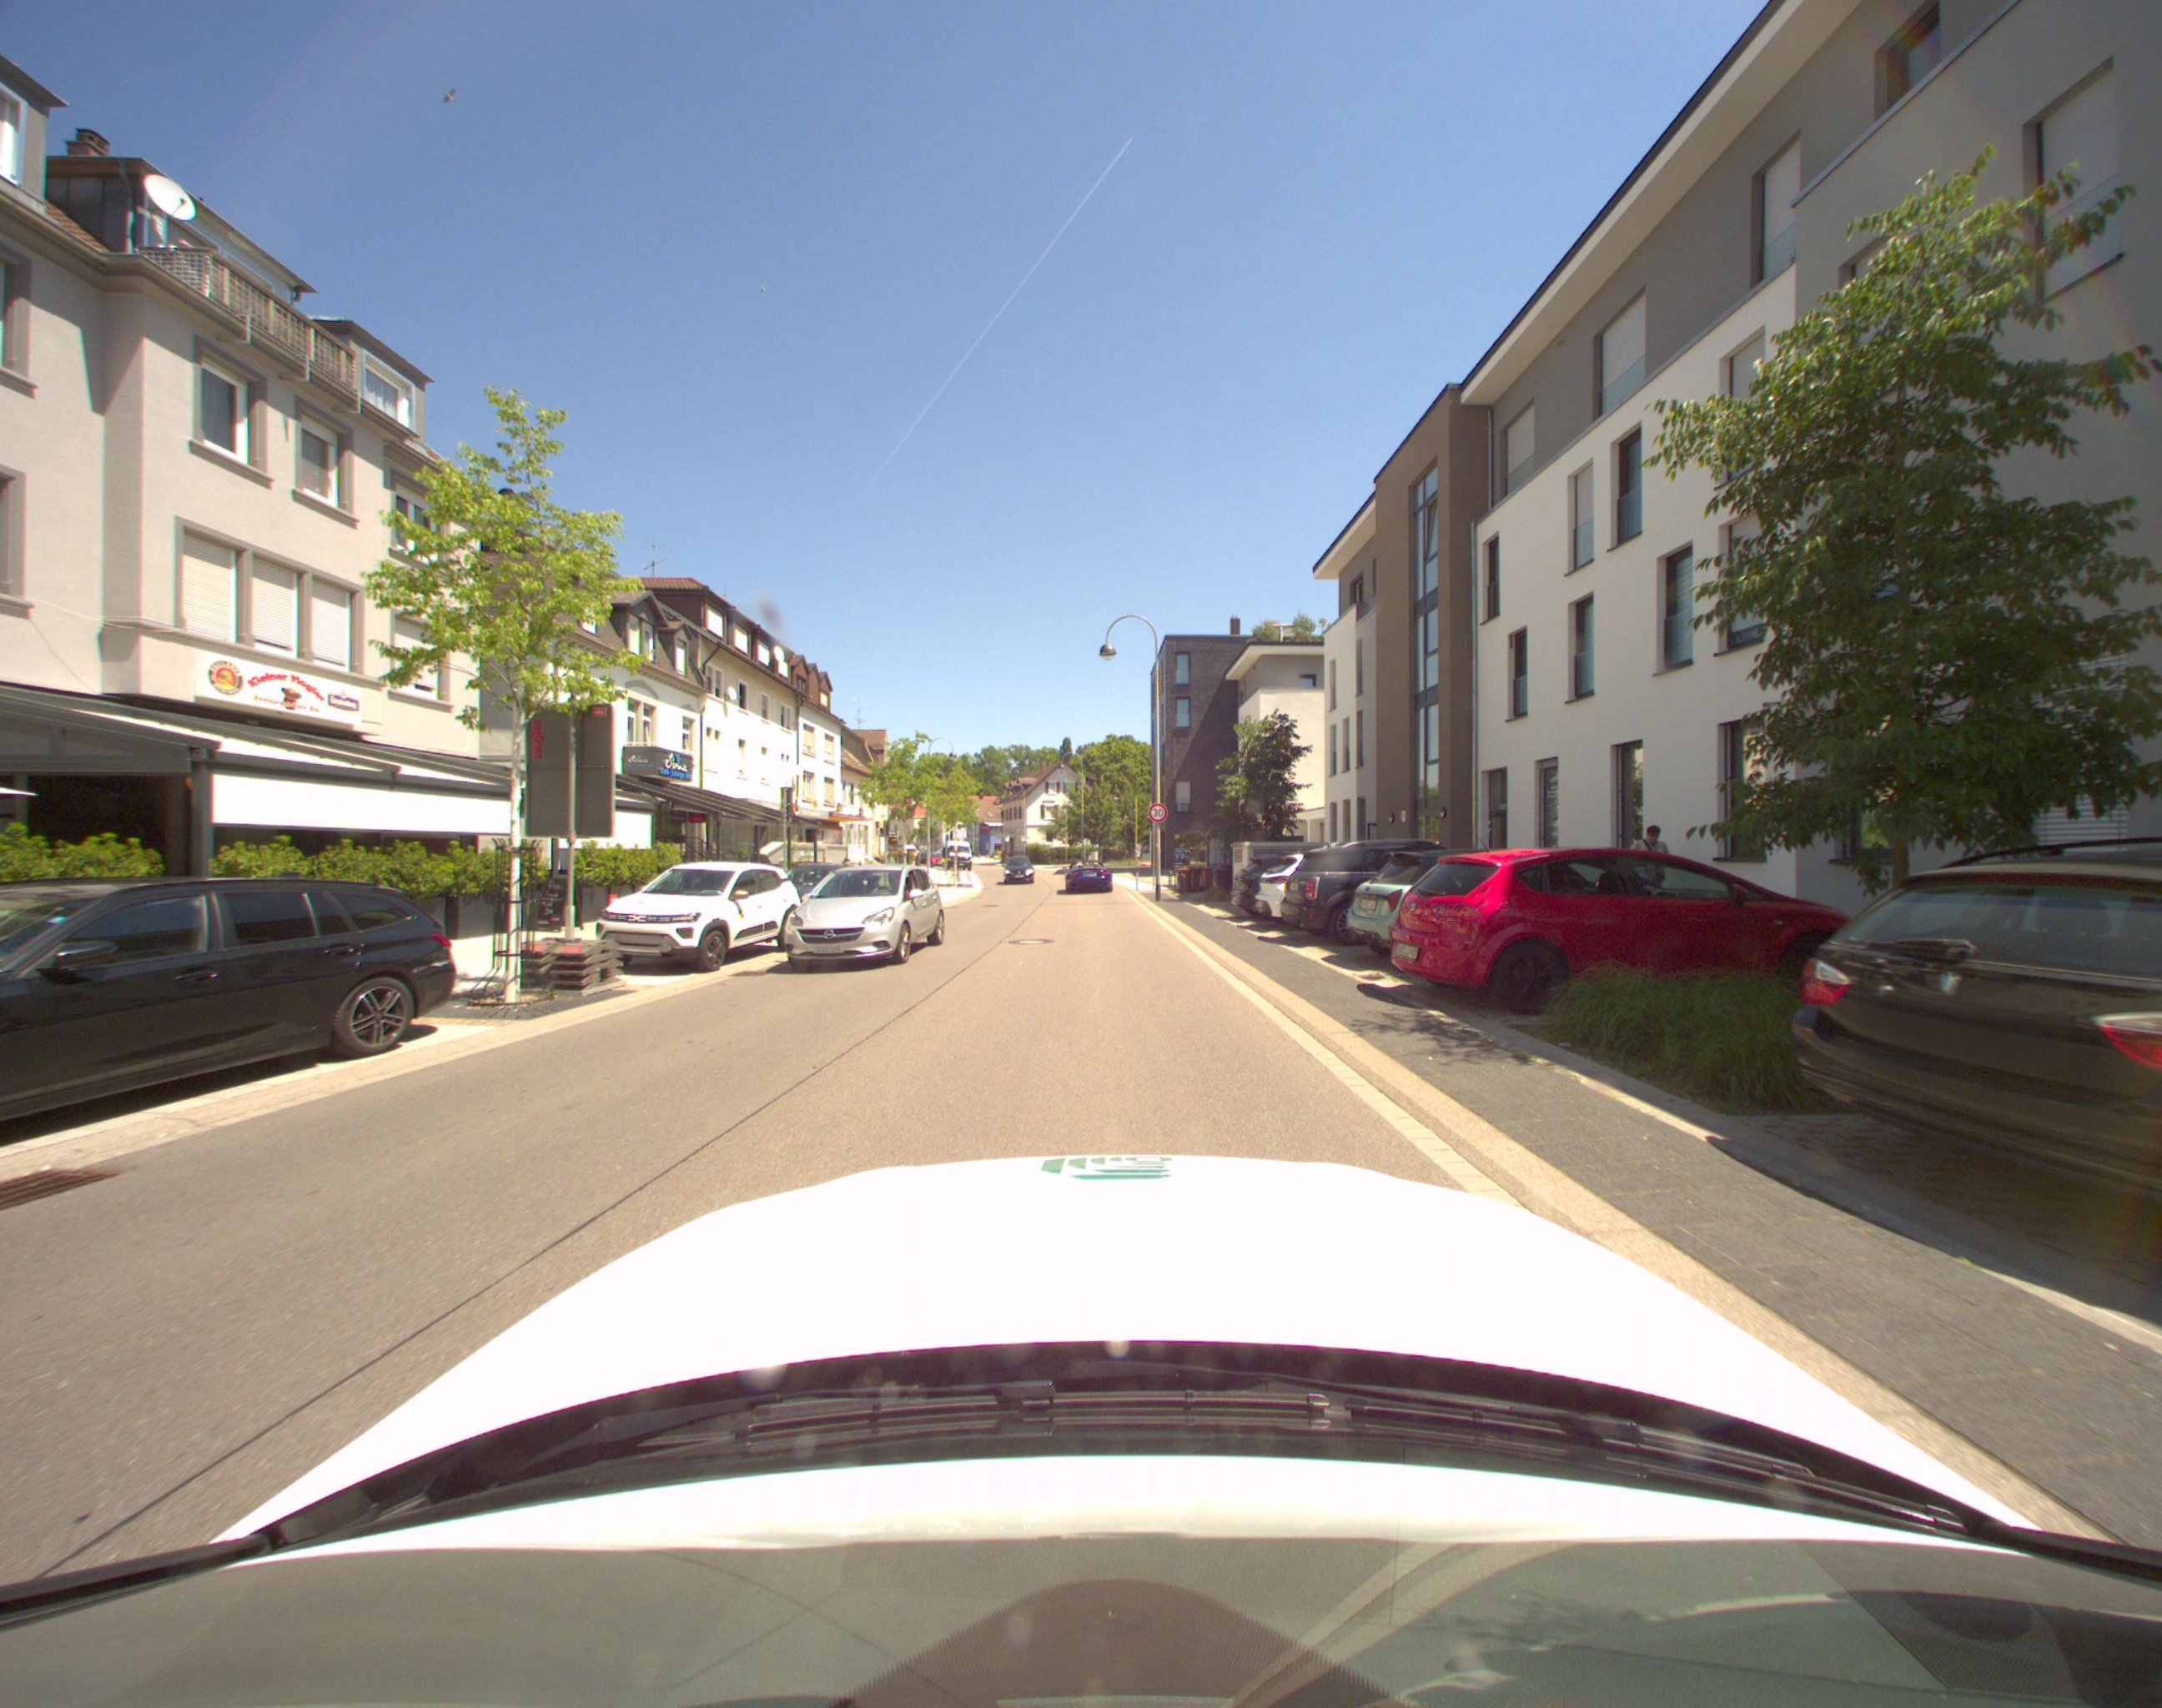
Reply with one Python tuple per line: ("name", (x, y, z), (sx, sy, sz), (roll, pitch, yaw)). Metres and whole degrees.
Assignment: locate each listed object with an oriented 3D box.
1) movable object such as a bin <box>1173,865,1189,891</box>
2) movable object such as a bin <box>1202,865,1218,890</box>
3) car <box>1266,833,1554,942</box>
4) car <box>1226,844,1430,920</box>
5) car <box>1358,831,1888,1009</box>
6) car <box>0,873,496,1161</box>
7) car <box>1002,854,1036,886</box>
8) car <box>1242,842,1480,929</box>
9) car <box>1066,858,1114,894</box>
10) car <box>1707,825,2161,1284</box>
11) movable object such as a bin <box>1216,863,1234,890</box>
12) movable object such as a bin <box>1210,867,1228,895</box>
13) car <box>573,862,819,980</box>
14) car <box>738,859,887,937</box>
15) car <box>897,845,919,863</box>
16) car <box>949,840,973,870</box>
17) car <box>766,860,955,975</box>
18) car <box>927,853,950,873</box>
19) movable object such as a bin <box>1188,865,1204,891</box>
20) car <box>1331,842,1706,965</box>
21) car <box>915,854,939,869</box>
("movable object such as a bin", (3.776, 0.900, 30.757), (0.535, 0.929, 0.623), (-3, -1, 1))
("movable object such as a bin", (4.857, 0.884, 30.729), (0.493, 0.929, 0.623), (-3, -1, 1))
("car", (5.251, 0.519, 13.423), (3.968, 1.605, 1.942), (-1, -1, -1))
("car", (5.321, 0.586, 17.909), (3.968, 1.529, 1.740), (-1, -1, -1))
("car", (5.022, 0.573, 7.977), (3.959, 1.408, 1.856), (-2, -1, -1))
("car", (-6.580, 0.904, 5.315), (1.826, 1.429, 4.787), (1, 0, 3))
("car", (-3.411, 0.872, 44.601), (1.658, 1.606, 3.993), (-2, 0, -5))
("car", (5.332, 0.583, 15.907), (3.968, 1.529, 1.942), (-1, -1, -1))
("car", (0.399, 0.882, 34.408), (1.864, 1.342, 4.597), (-2, 0, 1))
("car", (5.421, 0.602, 3.381), (4.248, 1.416, 1.926), (-1, -1, -3))
("movable object such as a bin", (5.019, 0.772, 28.389), (0.493, 0.929, 0.623), (-2, -1, 1))
("movable object such as a bin", (4.632, 0.902, 27.359), (0.493, 0.929, 0.623), (-3, -1, 1))
("car", (-5.754, 0.903, 12.785), (1.636, 1.479, 3.947), (1, 0, 6))
("car", (-5.652, 0.861, 17.672), (1.663, 1.443, 4.013), (-1, 0, 3))
("car", (-23.895, 0.038, 112.167), (1.876, 2.400, 4.777), (-1, 0, -26))
("car", (-10.156, 0.115, 68.737), (1.867, 2.400, 4.801), (-1, 0, -10))
("car", (-3.325, 0.888, 13.145), (1.680, 1.458, 4.062), (-2, 0, 3))
("car", (-13.575, 0.856, 77.344), (1.995, 1.738, 3.983), (-1, -1, -13))
("movable object such as a bin", (4.336, 0.901, 30.728), (0.493, 0.929, 0.623), (-3, -1, 1))
("car", (5.526, 0.598, 10.650), (3.968, 1.432, 1.762), (-1, -1, -1))
("car", (-16.911, 0.809, 89.244), (1.999, 1.692, 3.975), (0, 0, -19))
